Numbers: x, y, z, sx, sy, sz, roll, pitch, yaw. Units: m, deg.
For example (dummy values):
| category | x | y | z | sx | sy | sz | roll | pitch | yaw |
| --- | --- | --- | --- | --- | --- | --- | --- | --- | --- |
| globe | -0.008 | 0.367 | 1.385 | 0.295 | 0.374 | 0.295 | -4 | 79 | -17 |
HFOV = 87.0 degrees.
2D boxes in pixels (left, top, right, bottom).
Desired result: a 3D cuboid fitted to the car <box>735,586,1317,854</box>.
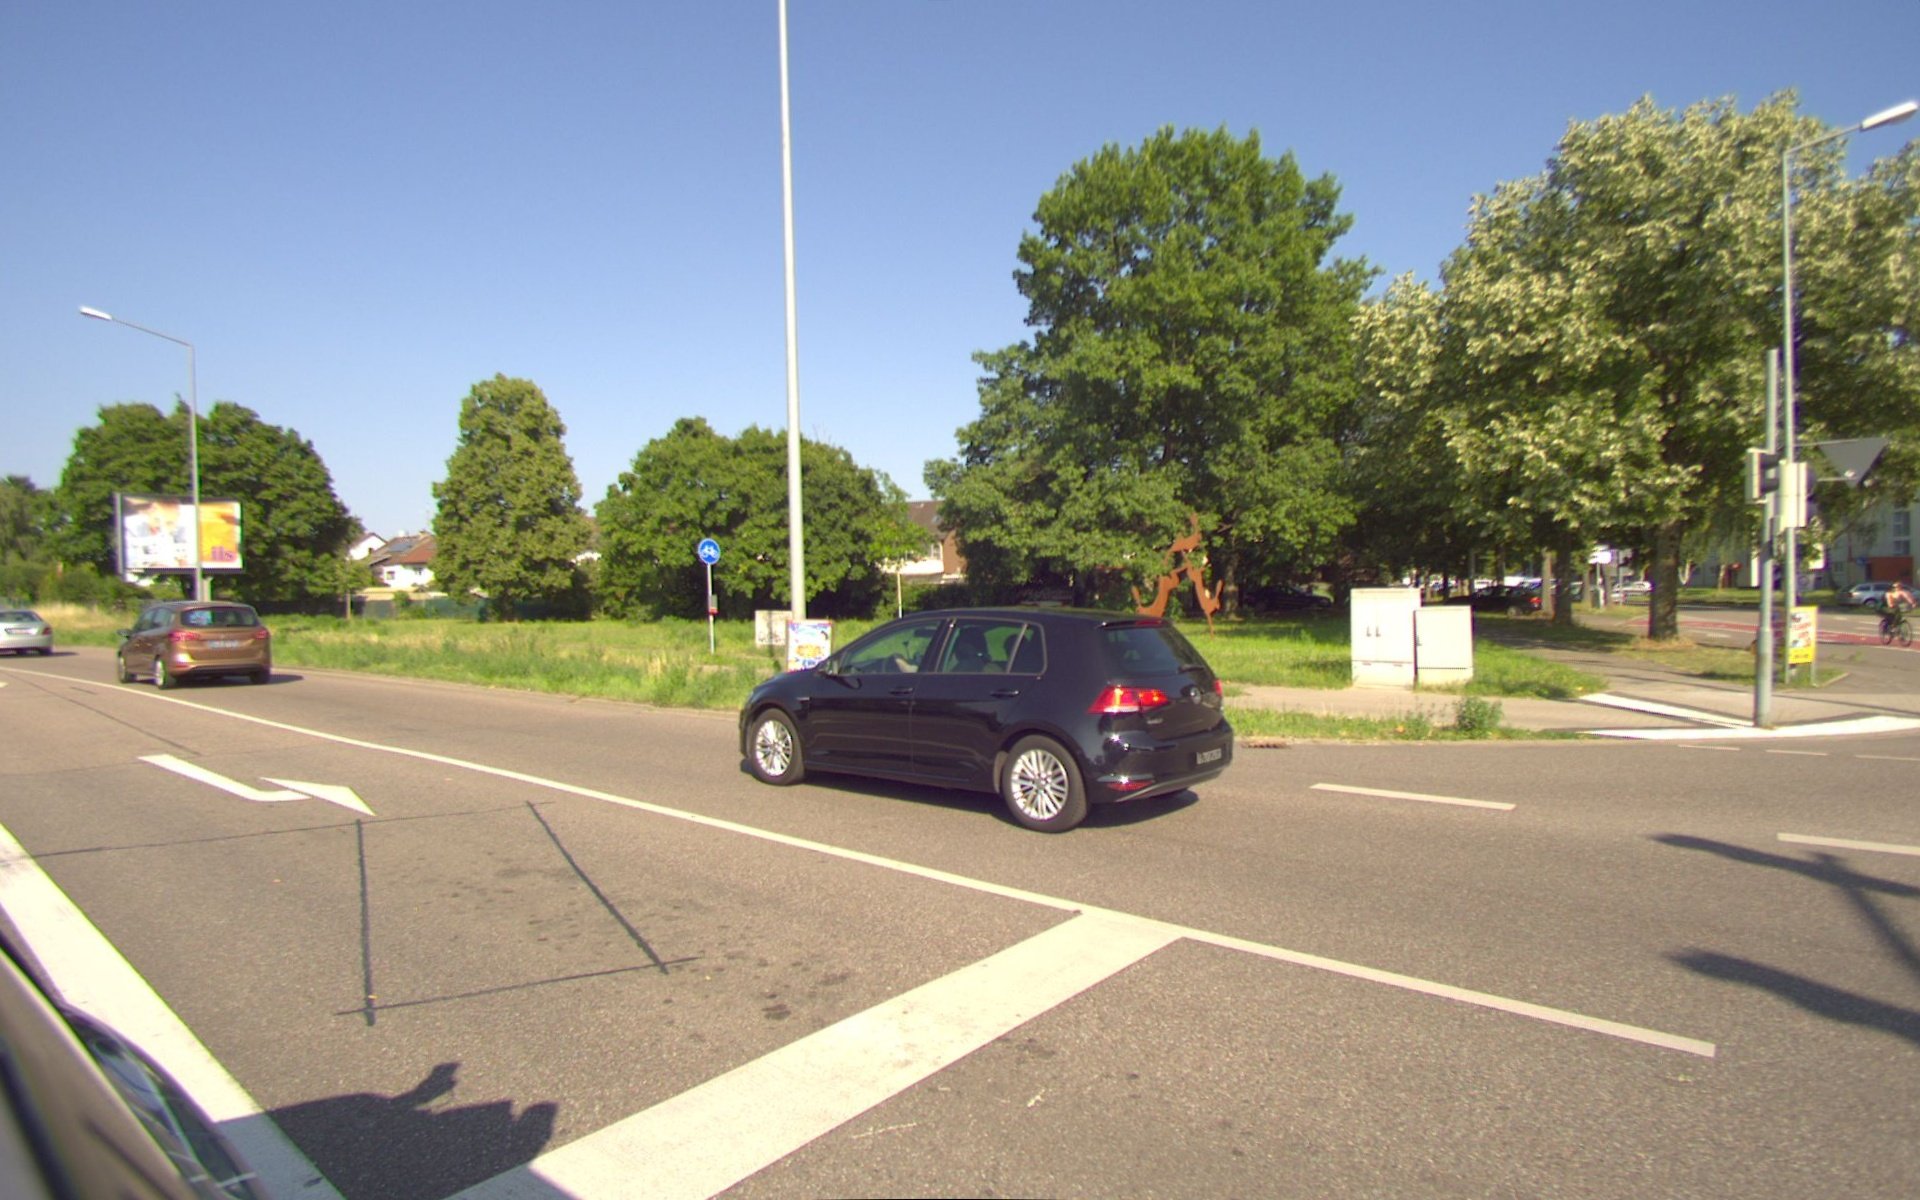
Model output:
| category | x | y | z | sx | sy | sz | roll | pitch | yaw |
| --- | --- | --- | --- | --- | --- | --- | --- | --- | --- |
| car | 0.325 | 0.682 | 7.666 | 4.097 | 1.485 | 1.869 | -1 | 0 | 40 |

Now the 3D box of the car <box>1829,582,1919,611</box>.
| category | x | y | z | sx | sy | sz | roll | pitch | yaw |
| --- | --- | --- | --- | --- | --- | --- | --- | --- | --- |
| car | 49.086 | -0.201 | 53.247 | 4.784 | 1.488 | 1.771 | -1 | 0 | 24 |

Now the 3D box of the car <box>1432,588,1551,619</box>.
| category | x | y | z | sx | sy | sz | roll | pitch | yaw |
| --- | --- | --- | --- | --- | --- | --- | --- | --- | --- |
| car | 24.093 | 0.138 | 46.086 | 1.499 | 1.330 | 4.785 | -1 | 0 | -28 |

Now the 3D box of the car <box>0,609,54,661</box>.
| category | x | y | z | sx | sy | sz | roll | pitch | yaw |
| --- | --- | --- | --- | --- | --- | --- | --- | --- | --- |
| car | -28.988 | 1.035 | 30.473 | 4.360 | 1.476 | 1.687 | -1 | -1 | 36 |

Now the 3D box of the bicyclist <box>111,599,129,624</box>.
| category | x | y | z | sx | sy | sz | roll | pitch | yaw |
| --- | --- | --- | --- | --- | --- | --- | --- | --- | --- |
| bicyclist | -50.112 | 0.687 | 60.397 | 1.071 | 1.439 | 0.630 | -1 | 0 | 40 |

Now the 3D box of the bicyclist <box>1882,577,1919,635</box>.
| category | x | y | z | sx | sy | sz | roll | pitch | yaw |
| --- | --- | --- | --- | --- | --- | --- | --- | --- | --- |
| bicyclist | 25.502 | 0.157 | 27.305 | 0.611 | 1.535 | 0.625 | -2 | 0 | 10 |

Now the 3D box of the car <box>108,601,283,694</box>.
| category | x | y | z | sx | sy | sz | roll | pitch | yaw |
| --- | --- | --- | --- | --- | --- | --- | --- | --- | --- |
| car | -14.588 | 0.842 | 19.239 | 3.995 | 1.574 | 1.728 | -1 | -1 | 39 |

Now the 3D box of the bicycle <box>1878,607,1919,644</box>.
| category | x | y | z | sx | sy | sz | roll | pitch | yaw |
| --- | --- | --- | --- | --- | --- | --- | --- | --- | --- |
| bicycle | 25.414 | 0.680 | 27.072 | 0.649 | 0.910 | 1.796 | -1 | 1 | 21 |
